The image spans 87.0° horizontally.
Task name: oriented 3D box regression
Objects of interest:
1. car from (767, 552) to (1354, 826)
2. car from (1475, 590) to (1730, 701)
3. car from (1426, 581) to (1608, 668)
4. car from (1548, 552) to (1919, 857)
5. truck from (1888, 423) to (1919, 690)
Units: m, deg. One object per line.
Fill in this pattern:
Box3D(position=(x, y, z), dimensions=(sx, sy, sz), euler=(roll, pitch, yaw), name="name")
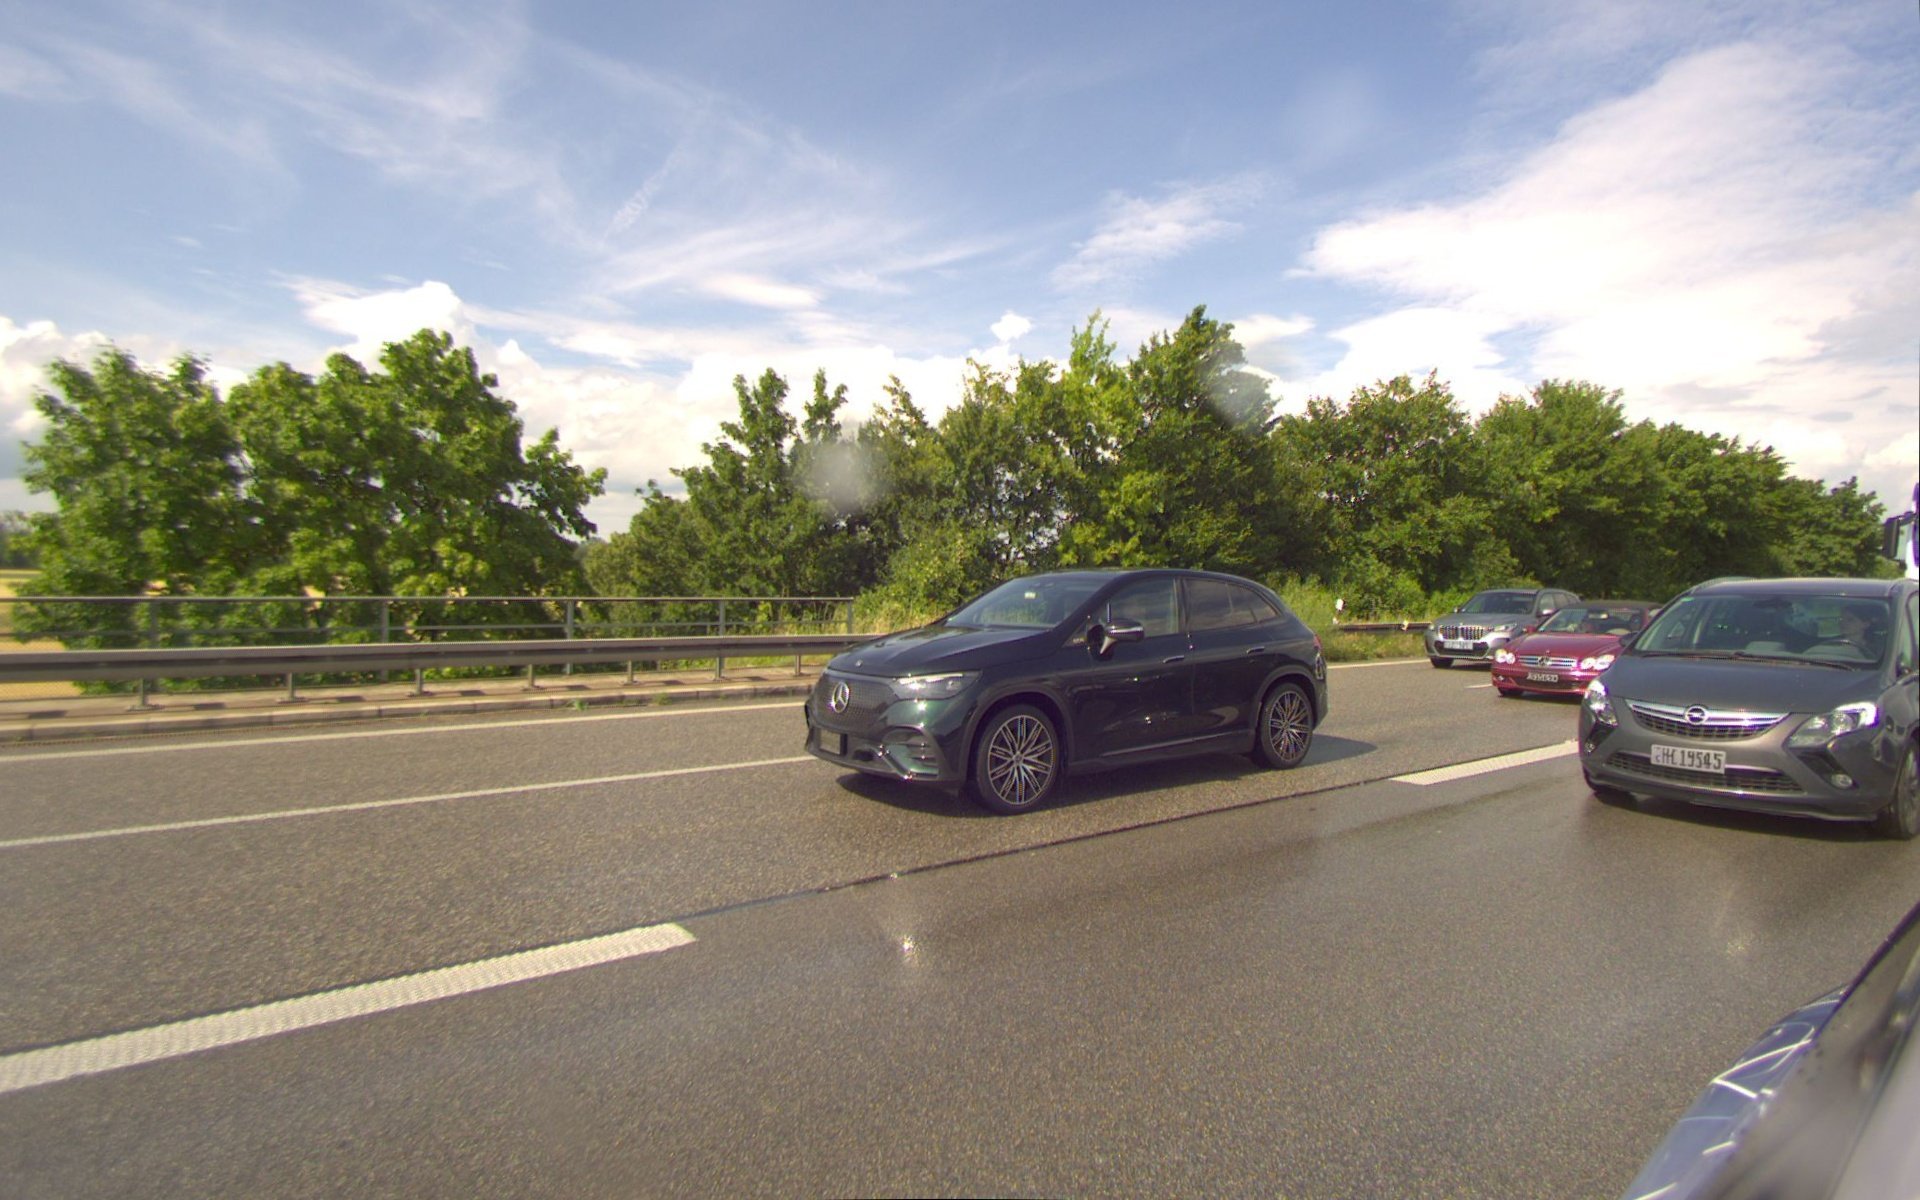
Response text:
Box3D(position=(0.979, 0.496, 8.108), dimensions=(4.568, 1.601, 1.999), euler=(0, 1, -38), name="car")
Box3D(position=(9.643, 0.577, 15.061), dimensions=(4.427, 1.428, 1.757), euler=(0, 0, -37), name="car")
Box3D(position=(11.383, 0.429, 20.573), dimensions=(4.208, 1.606, 1.753), euler=(-1, 0, -38), name="car")
Box3D(position=(6.364, 0.546, 7.602), dimensions=(4.315, 1.668, 1.884), euler=(0, 1, -38), name="car")
Box3D(position=(18.506, -0.707, 17.070), dimensions=(7.306, 4.158, 2.819), euler=(0, 0, -36), name="truck")
